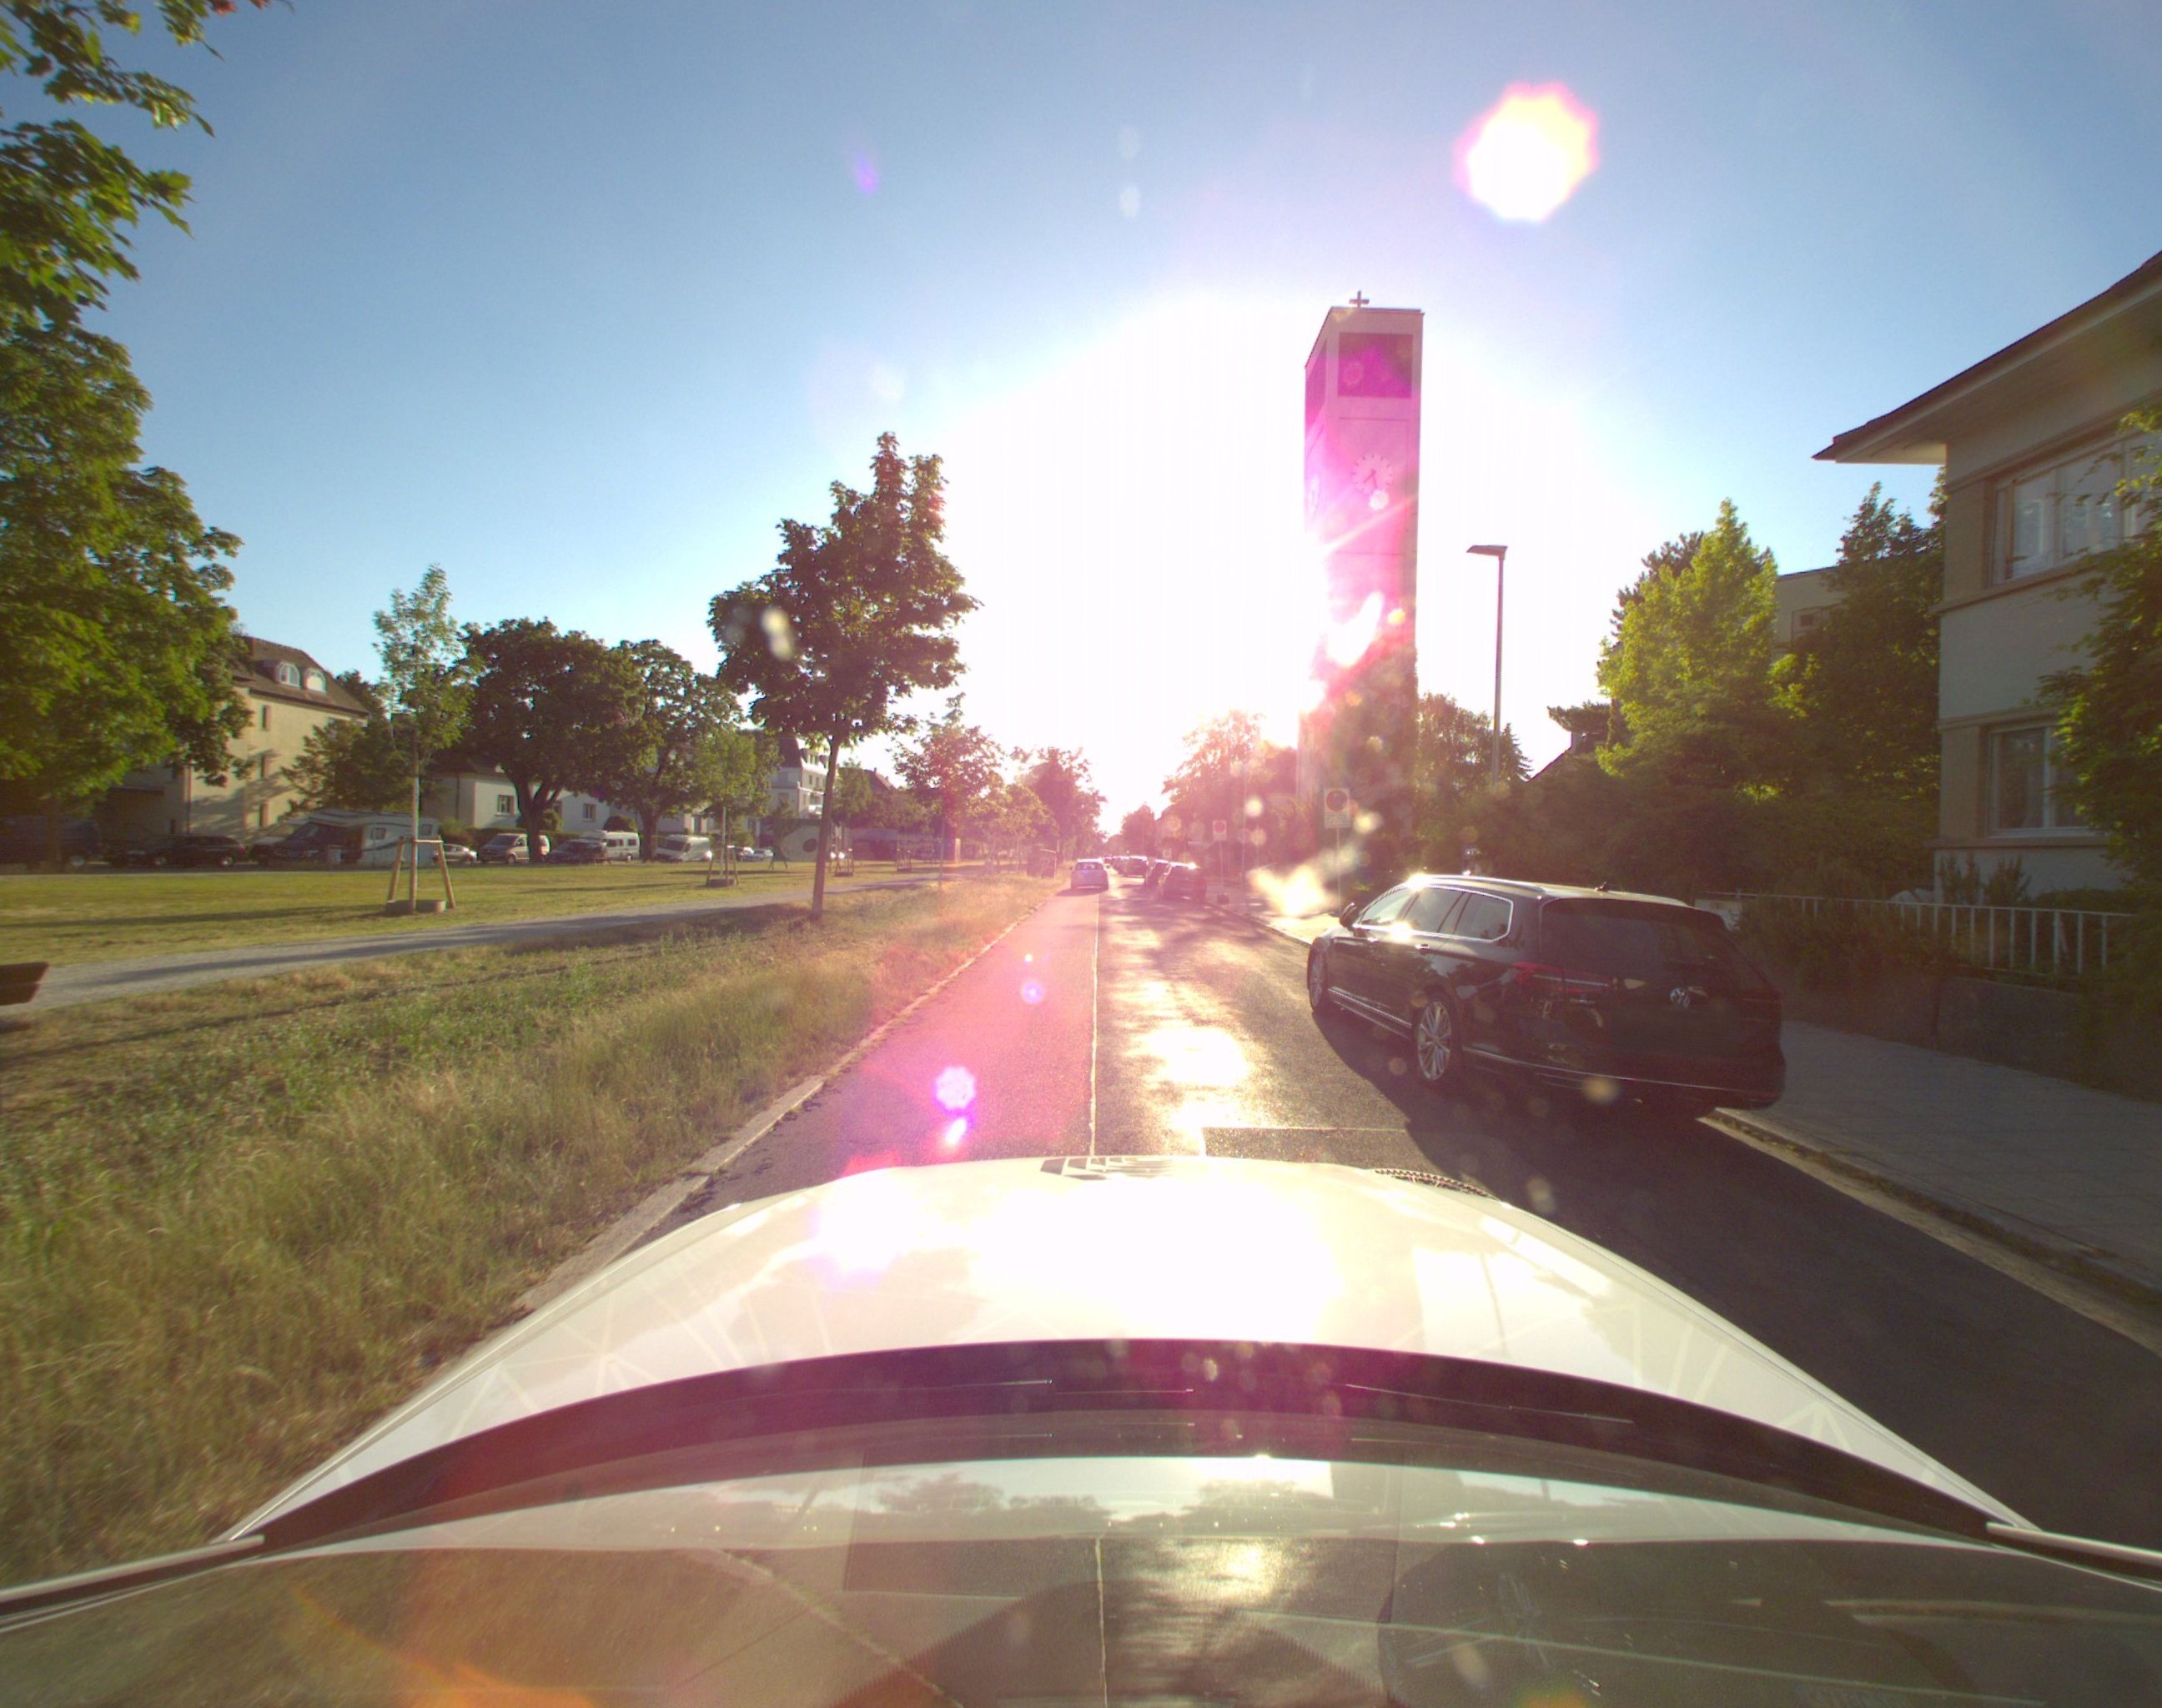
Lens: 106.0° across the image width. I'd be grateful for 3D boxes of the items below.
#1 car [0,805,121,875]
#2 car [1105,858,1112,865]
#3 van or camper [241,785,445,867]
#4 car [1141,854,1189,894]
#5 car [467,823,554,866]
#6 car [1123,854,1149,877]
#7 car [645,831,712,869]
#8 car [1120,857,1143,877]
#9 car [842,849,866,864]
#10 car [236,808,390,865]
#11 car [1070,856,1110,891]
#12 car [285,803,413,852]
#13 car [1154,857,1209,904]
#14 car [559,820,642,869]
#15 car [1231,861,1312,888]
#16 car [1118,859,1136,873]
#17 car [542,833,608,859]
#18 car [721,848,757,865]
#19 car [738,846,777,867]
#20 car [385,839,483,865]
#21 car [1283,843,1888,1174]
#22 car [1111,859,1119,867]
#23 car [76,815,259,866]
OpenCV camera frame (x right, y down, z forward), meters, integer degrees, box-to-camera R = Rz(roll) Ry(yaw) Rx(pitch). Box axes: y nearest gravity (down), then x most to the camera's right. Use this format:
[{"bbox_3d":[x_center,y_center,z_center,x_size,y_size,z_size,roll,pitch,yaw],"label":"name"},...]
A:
[{"bbox_3d":[-38.954,-0.477,29.618,1.930,2.419,5.119,-2,-1,2],"label":"car"},{"bbox_3d":[7.618,2.096,224.072,1.981,2.023,4.001,2,-1,2],"label":"car"},{"bbox_3d":[-32.827,-1.130,36.707,2.632,3.262,6.908,2,0,2],"label":"van or camper"},{"bbox_3d":[3.952,0.909,39.184,1.816,1.561,4.624,8,0,2],"label":"car"},{"bbox_3d":[-38.362,-0.582,54.961,2.129,2.604,5.324,-2,-1,0],"label":"car"},{"bbox_3d":[4.541,0.939,67.585,1.826,1.732,5.032,4,-1,1],"label":"car"},{"bbox_3d":[-32.210,-0.215,65.457,2.252,2.826,5.873,-2,-1,2],"label":"car"},{"bbox_3d":[4.866,1.235,79.424,1.926,1.720,4.622,4,0,1],"label":"car"},{"bbox_3d":[-31.151,0.381,111.818,1.921,1.828,4.692,-2,-1,1],"label":"car"},{"bbox_3d":[-39.154,-0.803,41.821,1.986,2.598,6.091,-2,-1,1],"label":"car"},{"bbox_3d":[0.465,0.886,38.704,1.817,1.566,4.002,0,0,2],"label":"car"},{"bbox_3d":[-32.827,-1.130,36.707,1.986,2.013,4.002,2,0,2],"label":"car"},{"bbox_3d":[3.901,0.979,32.239,1.681,1.527,4.176,6,1,2],"label":"car"},{"bbox_3d":[-37.975,-0.660,64.641,2.295,3.559,6.766,-2,-1,1],"label":"car"},{"bbox_3d":[12.463,1.363,53.488,4.830,1.486,2.002,2,-4,0],"label":"car"},{"bbox_3d":[5.400,1.419,95.336,1.985,1.462,4.564,3,0,3],"label":"car"},{"bbox_3d":[-32.280,-0.456,52.112,1.409,1.564,4.309,2,0,0],"label":"car"},{"bbox_3d":[-37.602,0.259,89.664,1.775,1.703,4.667,-2,-1,1],"label":"car"},{"bbox_3d":[-32.122,0.279,81.086,1.826,1.899,4.644,-2,-1,2],"label":"car"},{"bbox_3d":[-38.736,-0.075,48.945,1.984,1.403,4.567,-2,-1,5],"label":"car"},{"bbox_3d":[3.348,0.882,6.852,1.987,1.597,4.885,6,-1,0],"label":"car"},{"bbox_3d":[6.897,1.883,165.794,1.715,1.597,4.001,1,-1,2],"label":"car"},{"bbox_3d":[-39.030,-0.518,35.054,1.962,2.004,5.052,2,0,2],"label":"car"}]
